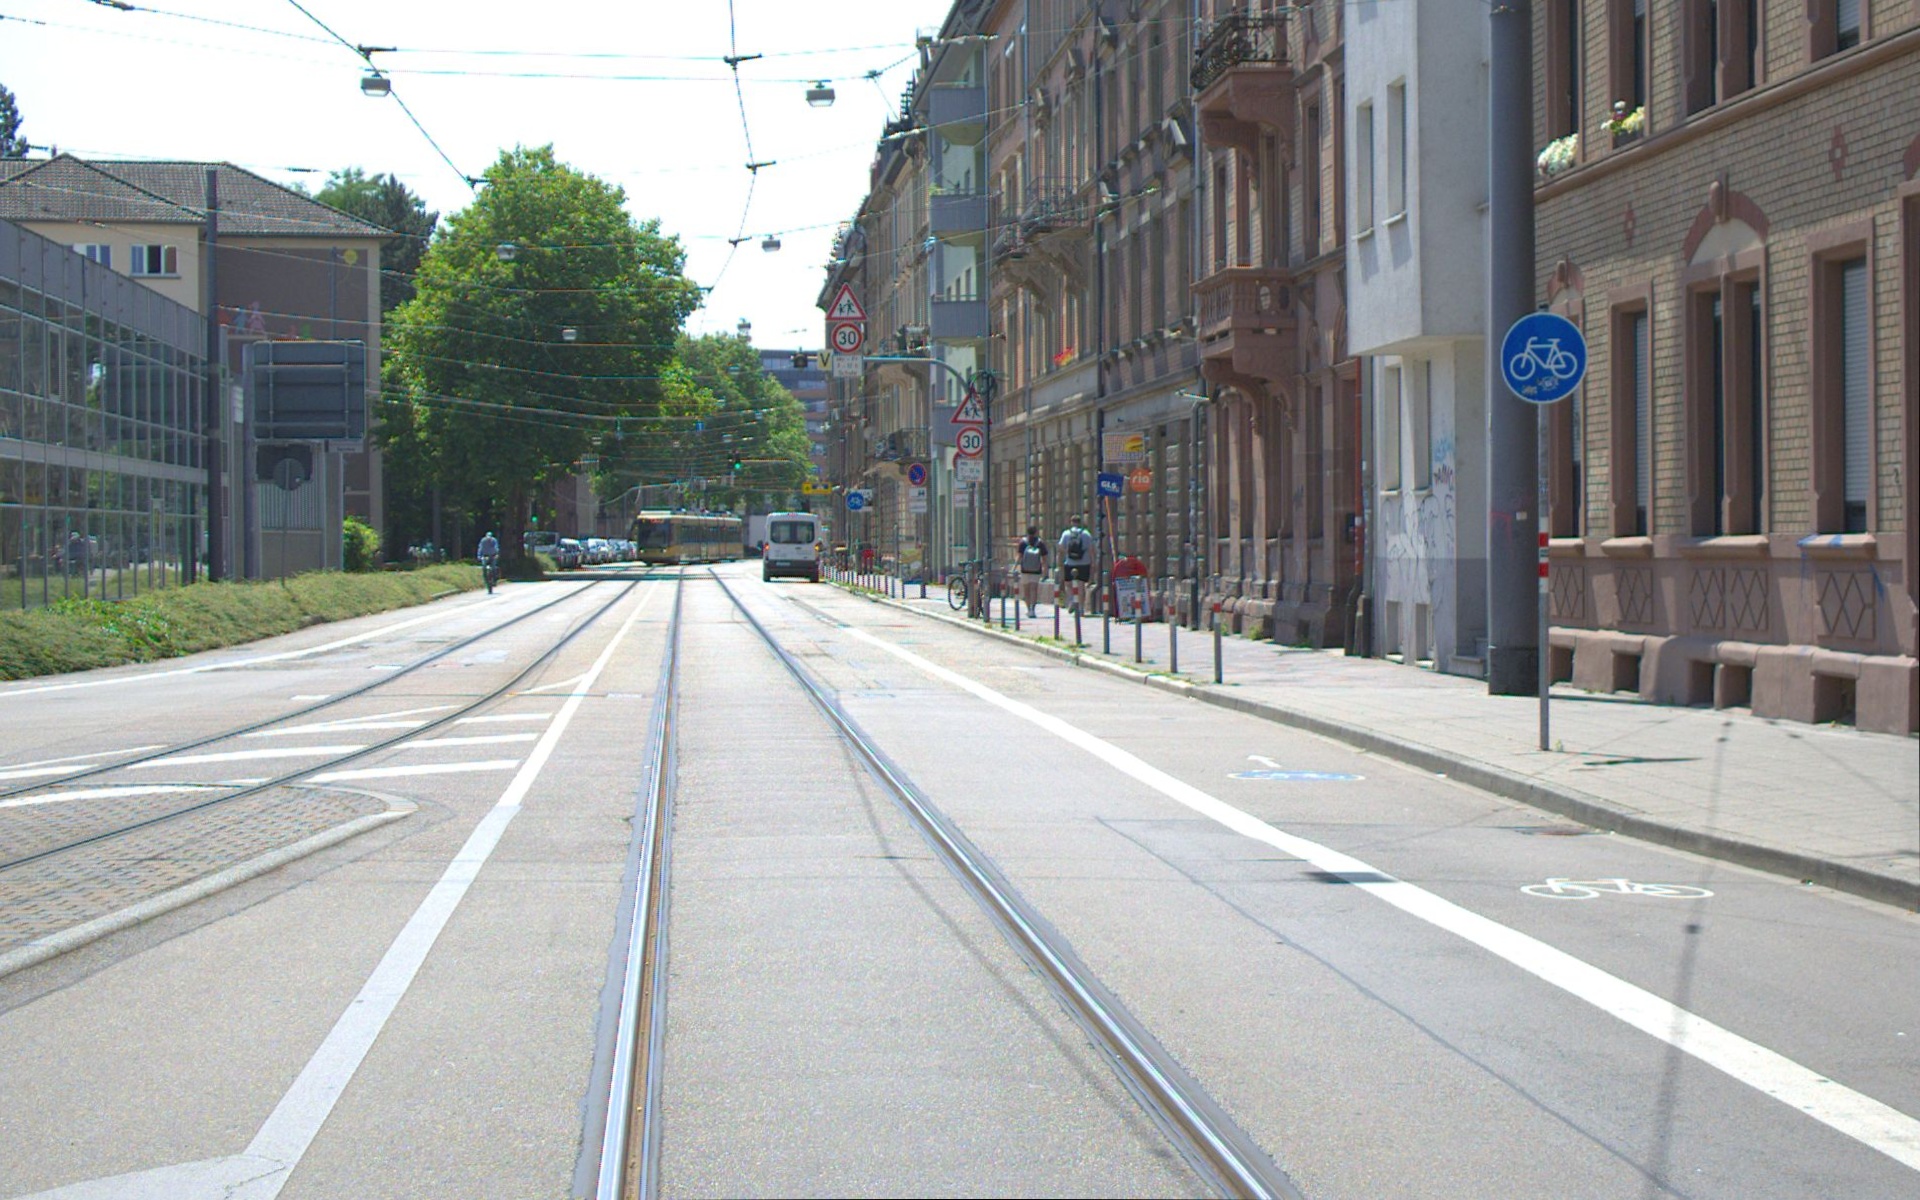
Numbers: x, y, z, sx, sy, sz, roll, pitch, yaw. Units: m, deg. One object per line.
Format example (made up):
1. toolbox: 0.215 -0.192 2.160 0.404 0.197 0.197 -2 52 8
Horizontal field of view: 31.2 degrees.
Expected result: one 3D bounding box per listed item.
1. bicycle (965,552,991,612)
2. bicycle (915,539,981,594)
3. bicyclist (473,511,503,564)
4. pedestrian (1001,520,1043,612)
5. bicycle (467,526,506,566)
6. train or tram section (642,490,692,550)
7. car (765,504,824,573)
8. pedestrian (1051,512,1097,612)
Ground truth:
1. bicycle: 0.340 -0.346 65.153 0.447 1.093 2.423 -1 1 1
2. bicycle: -0.253 -0.726 72.779 0.499 1.127 2.240 0 1 24
3. bicyclist: -13.917 -1.856 101.320 0.698 1.543 0.980 -1 1 2
4. pedestrian: 1.176 -0.648 65.081 0.720 1.714 0.644 -1 1 -3
5. bicycle: -13.940 -1.602 101.234 0.698 1.140 2.495 -1 1 3
6. train or tram section: -18.006 -4.901 211.239 2.960 3.568 13.426 0 1 -5
7. car: -6.130 -2.268 126.732 2.067 2.492 5.455 1 1 -3
8. pedestrian: 2.158 -0.726 65.053 0.702 1.842 0.644 -4 1 -3
